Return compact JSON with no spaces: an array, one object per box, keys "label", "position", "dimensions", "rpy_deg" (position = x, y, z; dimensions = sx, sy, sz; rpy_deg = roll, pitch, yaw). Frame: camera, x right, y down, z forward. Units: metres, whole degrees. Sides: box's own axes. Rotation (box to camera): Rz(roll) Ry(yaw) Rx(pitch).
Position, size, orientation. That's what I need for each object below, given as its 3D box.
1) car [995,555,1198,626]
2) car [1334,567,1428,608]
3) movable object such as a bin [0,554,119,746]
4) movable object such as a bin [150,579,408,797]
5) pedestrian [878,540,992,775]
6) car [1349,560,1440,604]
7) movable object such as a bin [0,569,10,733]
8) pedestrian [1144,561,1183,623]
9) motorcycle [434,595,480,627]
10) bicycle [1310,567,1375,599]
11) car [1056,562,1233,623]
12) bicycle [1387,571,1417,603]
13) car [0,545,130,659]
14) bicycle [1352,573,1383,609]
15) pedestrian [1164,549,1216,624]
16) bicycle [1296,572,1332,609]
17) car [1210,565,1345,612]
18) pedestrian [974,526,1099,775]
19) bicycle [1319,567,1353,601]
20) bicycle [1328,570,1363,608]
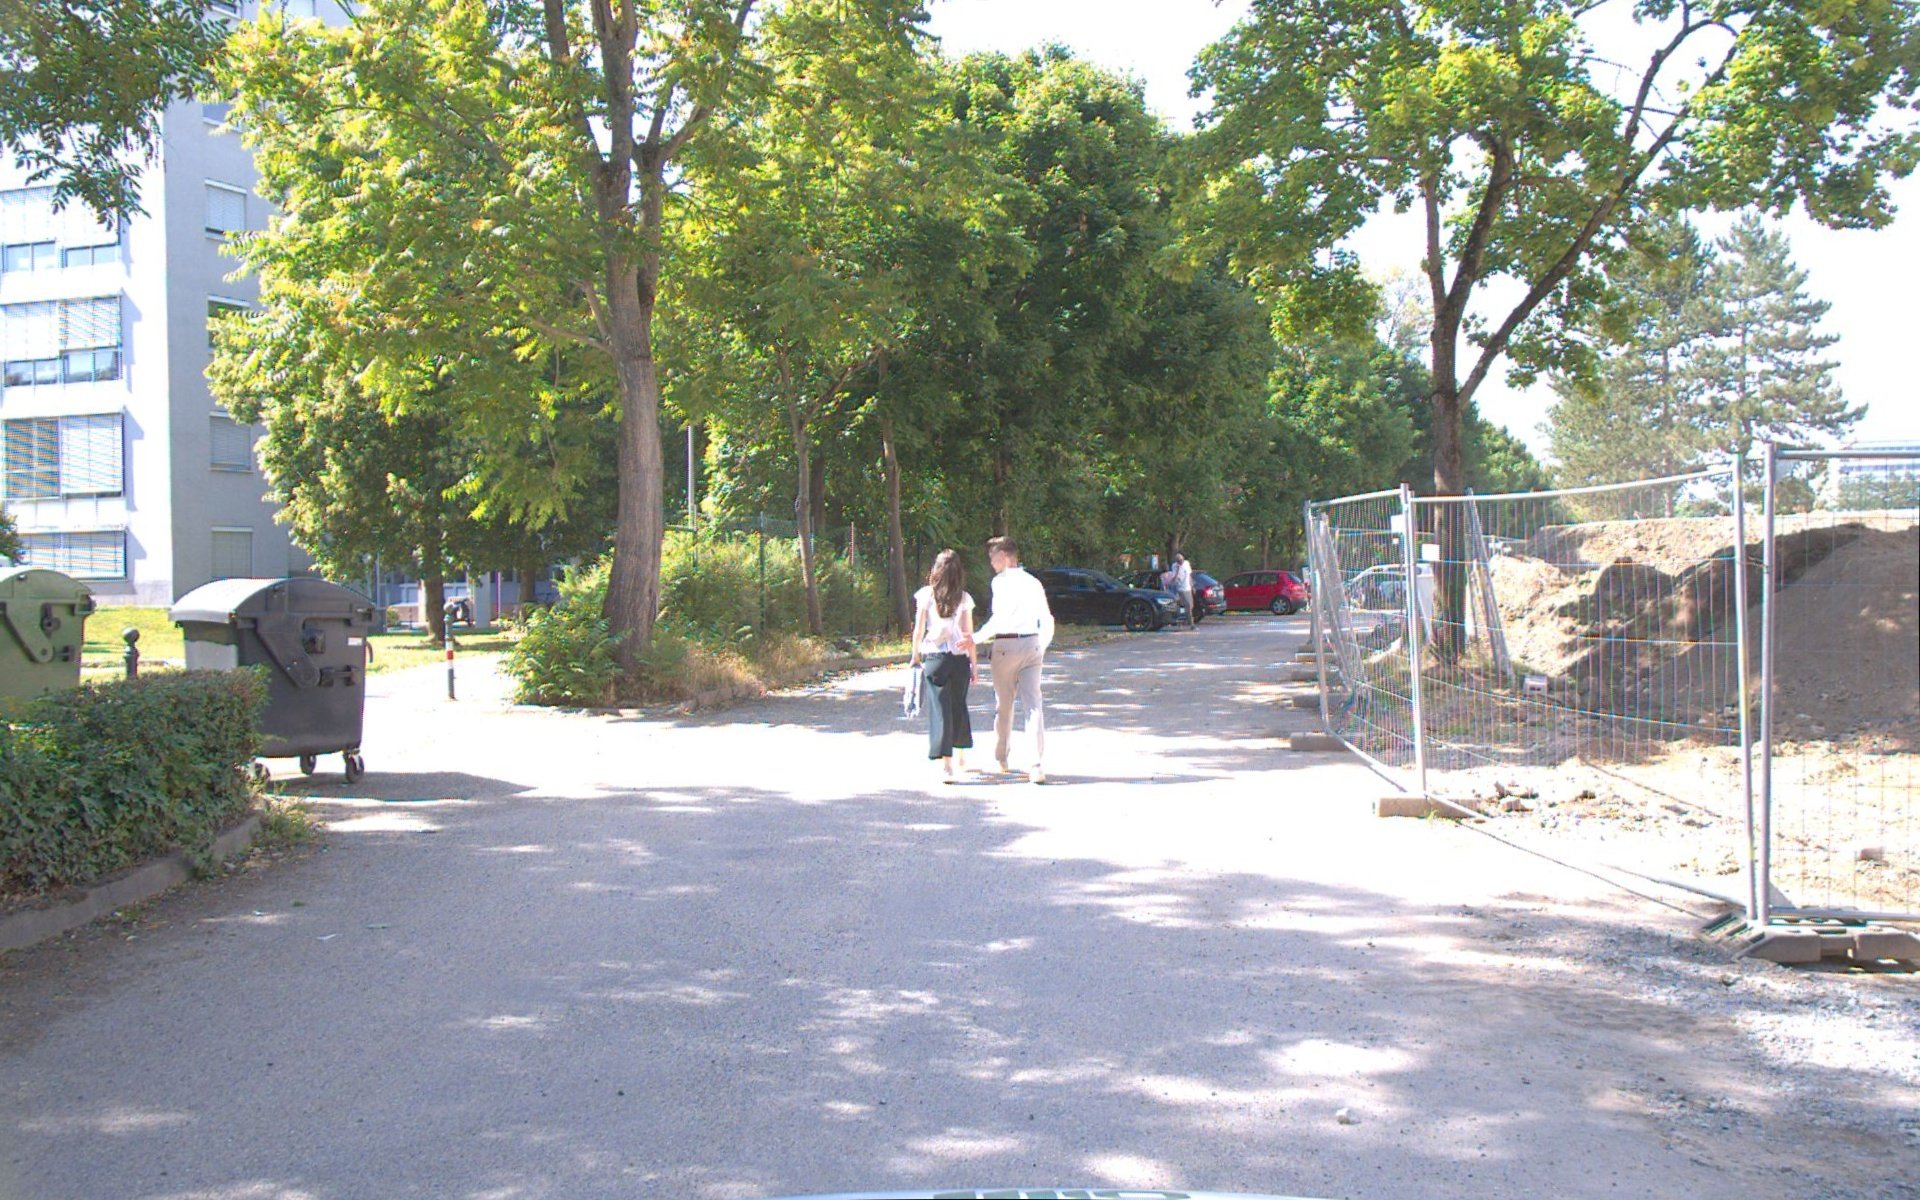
[{"label":"car","position":[3.307,-0.246,39.724],"dimensions":[4.557,1.612,2.002],"rpy_deg":[0,2,16]},{"label":"car","position":[19.490,-0.590,76.560],"dimensions":[3.910,1.802,1.766],"rpy_deg":[0,1,27]},{"label":"movable object such as a bin","position":[-7.980,0.387,13.682],"dimensions":[1.307,1.507,1.249],"rpy_deg":[-1,1,19]},{"label":"movable object such as a bin","position":[-4.880,0.574,11.847],"dimensions":[1.380,1.421,1.240],"rpy_deg":[0,1,43]},{"label":"pedestrian","position":[-0.194,0.395,12.214],"dimensions":[0.722,1.668,0.779],"rpy_deg":[-1,2,-9]},{"label":"car","position":[20.809,-0.878,79.249],"dimensions":[3.910,2.048,1.766],"rpy_deg":[0,1,27]},{"label":"movable object such as a bin","position":[-9.215,0.471,14.287],"dimensions":[1.193,1.456,1.249],"rpy_deg":[-1,1,14]},{"label":"pedestrian","position":[5.383,-0.213,43.766],"dimensions":[0.905,1.623,0.786],"rpy_deg":[0,2,16]},{"label":"motorcycle","position":[-20.779,0.453,68.362],"dimensions":[0.615,1.268,2.061],"rpy_deg":[0,1,26]},{"label":"bicycle","position":[16.218,-0.722,70.068],"dimensions":[2.619,1.306,0.819],"rpy_deg":[0,1,19]},{"label":"car","position":[5.082,-0.220,45.376],"dimensions":[4.557,1.612,2.002],"rpy_deg":[0,2,16]},{"label":"bicycle","position":[18.684,-0.554,69.900],"dimensions":[0.800,1.306,2.745],"rpy_deg":[0,1,24]},{"label":"car","position":[-17.422,0.045,28.946],"dimensions":[1.954,1.967,5.036],"rpy_deg":[0,1,26]},{"label":"bicycle","position":[15.518,-0.358,62.915],"dimensions":[0.700,1.306,2.636],"rpy_deg":[0,1,24]},{"label":"pedestrian","position":[5.609,-0.332,40.334],"dimensions":[0.810,1.812,1.005],"rpy_deg":[-1,1,-34]},{"label":"bicycle","position":[12.850,-0.367,59.962],"dimensions":[0.700,1.306,2.790],"rpy_deg":[0,1,24]},{"label":"car","position":[10.730,-0.396,55.936],"dimensions":[4.199,1.550,1.892],"rpy_deg":[0,1,23]},{"label":"pedestrian","position":[0.554,0.344,12.225],"dimensions":[0.741,1.758,0.852],"rpy_deg":[-1,2,-10]},{"label":"bicycle","position":[14.650,-0.634,64.394],"dimensions":[0.800,1.306,2.683],"rpy_deg":[0,1,24]},{"label":"bicycle","position":[13.611,-0.400,58.313],"dimensions":[0.700,1.306,2.683],"rpy_deg":[0,1,24]}]
